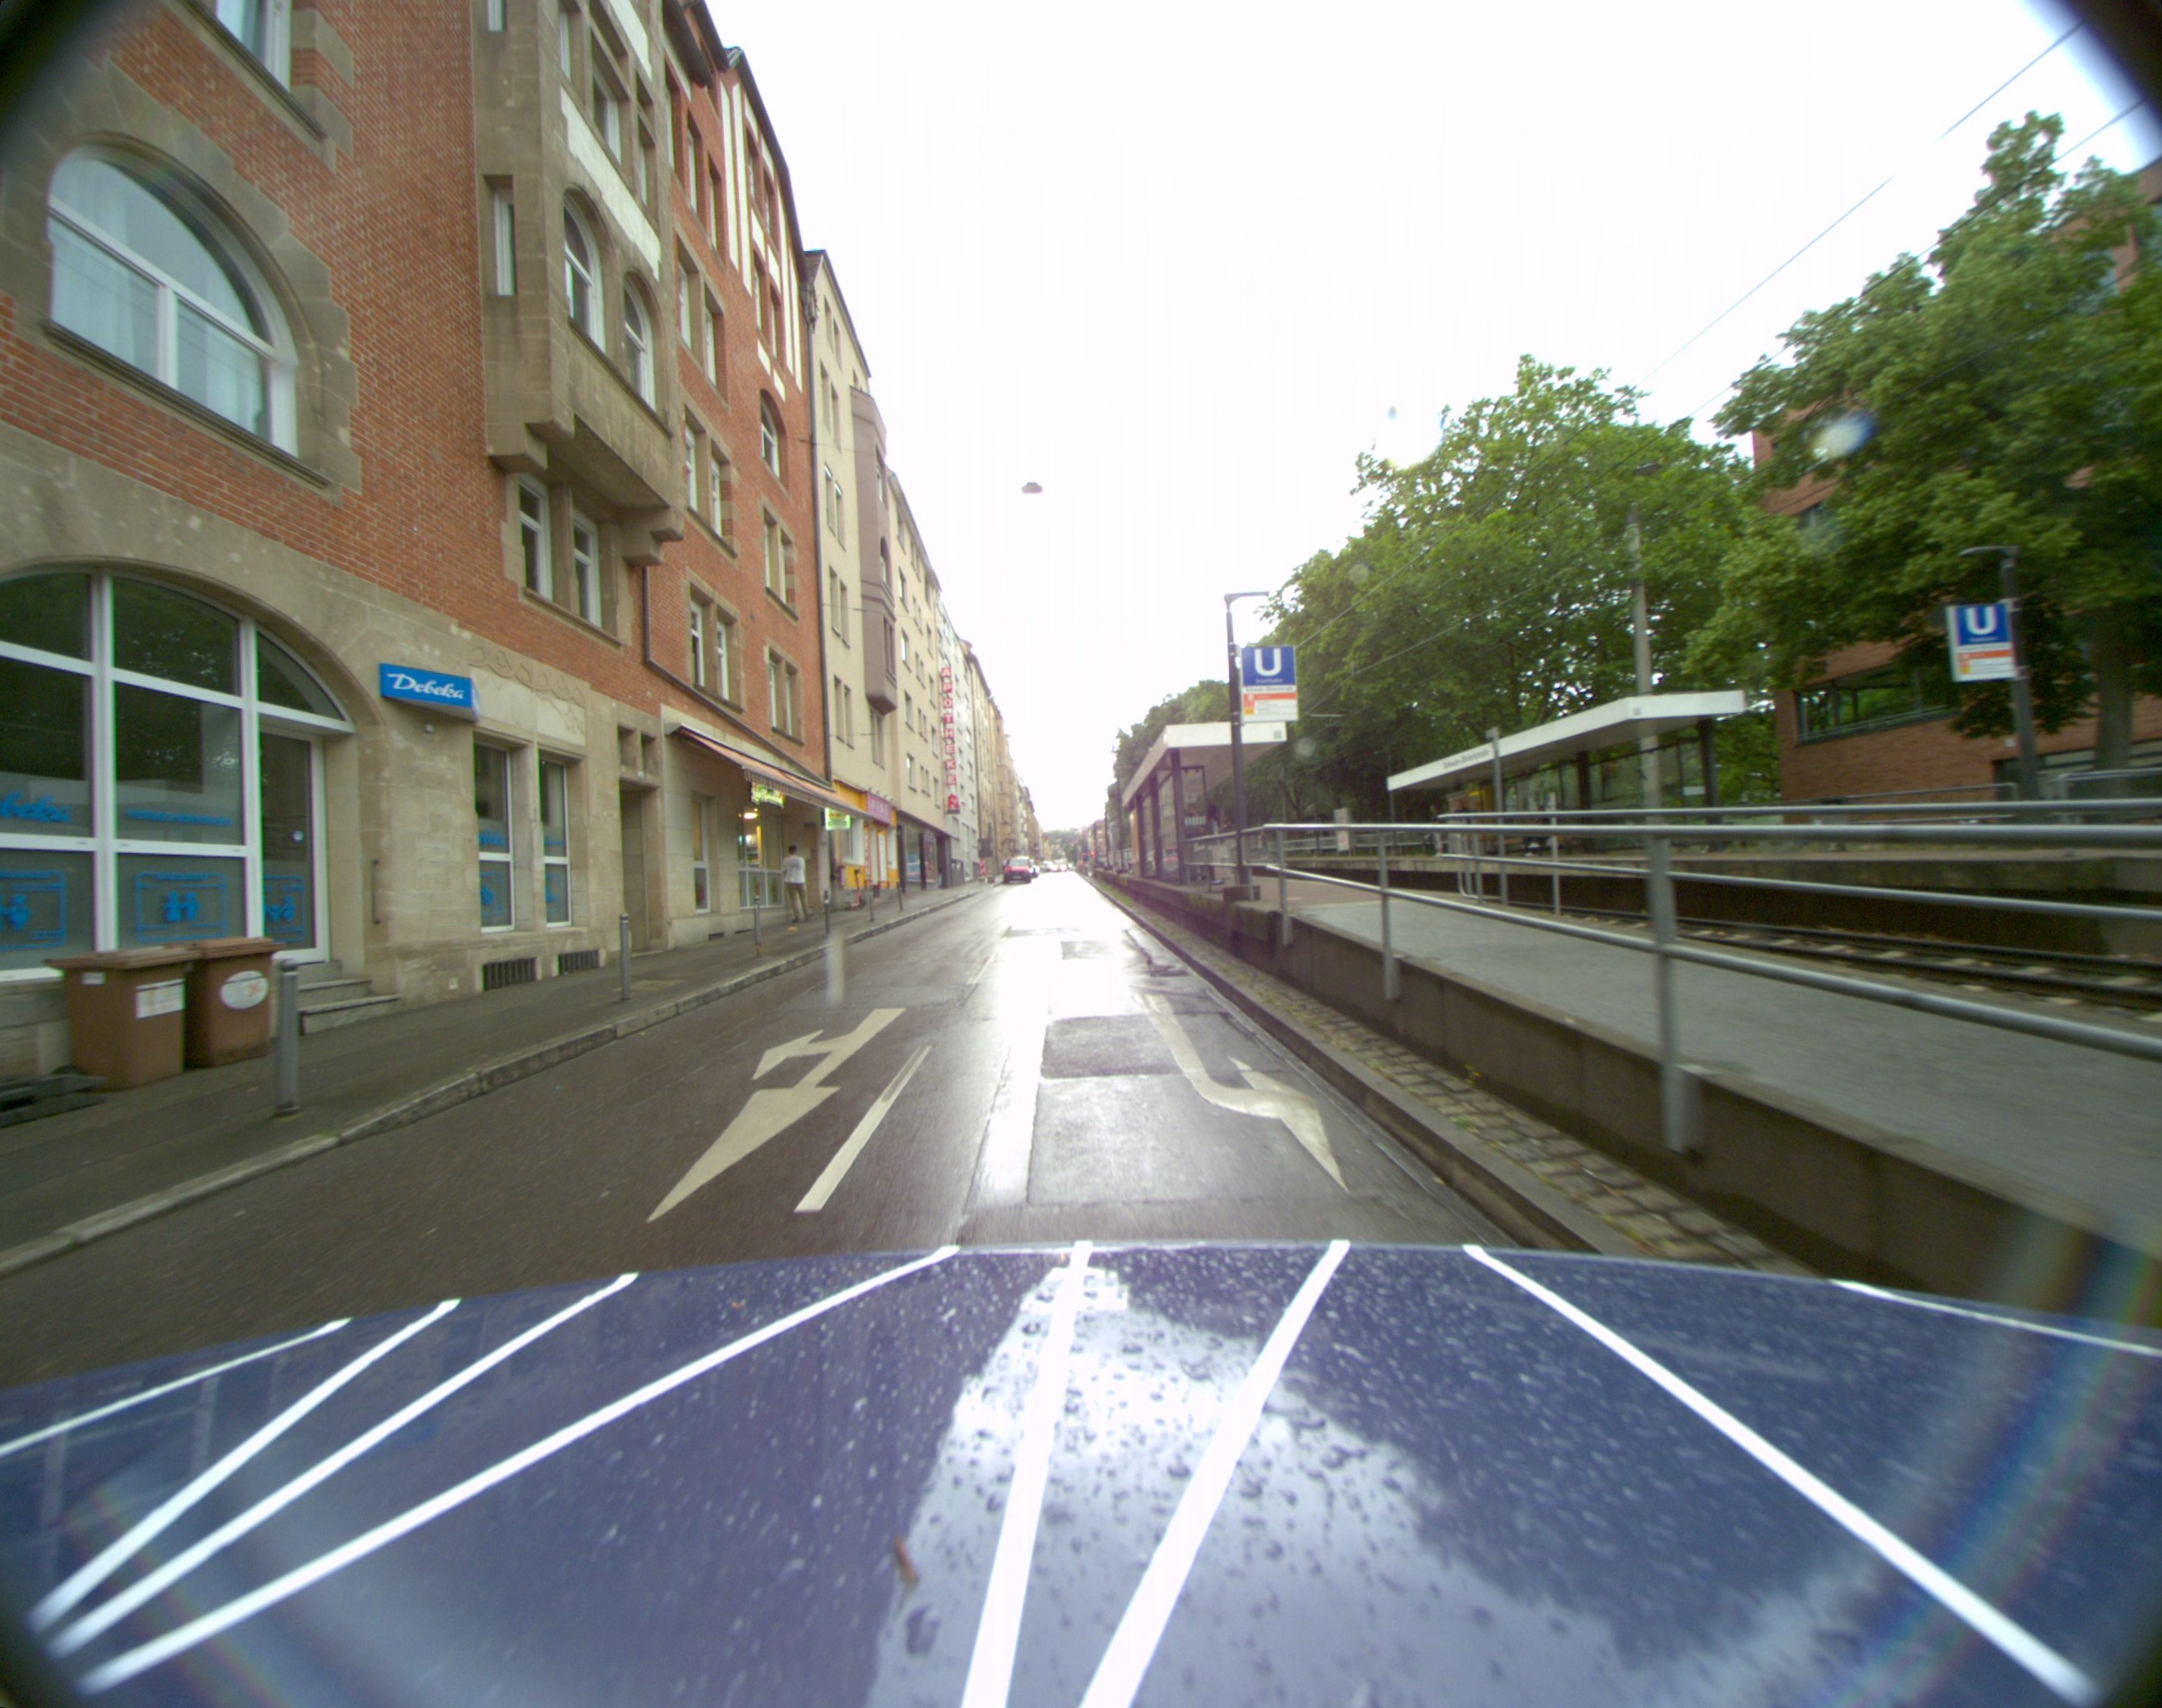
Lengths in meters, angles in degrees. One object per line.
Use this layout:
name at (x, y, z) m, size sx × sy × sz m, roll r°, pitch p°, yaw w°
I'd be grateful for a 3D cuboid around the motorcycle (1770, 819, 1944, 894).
motorcycle at (21.439, 0.070, 21.036) m, size 3.875 × 1.805 × 1.006 m, roll -3°, pitch 1°, yaw -3°

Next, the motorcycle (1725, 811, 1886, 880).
motorcycle at (21.279, -0.255, 22.359) m, size 3.875 × 1.763 × 1.006 m, roll -3°, pitch 0°, yaw -3°

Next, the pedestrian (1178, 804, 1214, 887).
pedestrian at (2.413, -0.177, 15.979) m, size 0.615 × 1.678 × 0.587 m, roll -3°, pitch 0°, yaw 2°

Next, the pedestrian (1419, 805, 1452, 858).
pedestrian at (11.395, -0.725, 24.413) m, size 0.688 × 1.631 × 0.564 m, roll -4°, pitch 0°, yaw -3°

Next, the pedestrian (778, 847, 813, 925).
pedestrian at (-6.879, 0.758, 18.319) m, size 0.562 × 1.820 × 0.580 m, roll 2°, pitch 2°, yaw 40°

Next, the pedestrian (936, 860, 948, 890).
pedestrian at (-7.794, 1.186, 42.556) m, size 0.483 × 1.635 × 0.330 m, roll -4°, pitch 1°, yaw -30°

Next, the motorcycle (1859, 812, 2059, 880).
motorcycle at (21.510, -0.197, 18.657) m, size 3.875 × 1.399 × 1.006 m, roll -3°, pitch 0°, yaw -3°

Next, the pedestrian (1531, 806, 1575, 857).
pedestrian at (11.982, -0.559, 19.299) m, size 0.705 × 1.233 × 0.564 m, roll -4°, pitch 0°, yaw -3°

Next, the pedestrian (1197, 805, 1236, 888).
pedestrian at (2.658, -0.147, 14.942) m, size 0.615 × 1.572 × 0.507 m, roll -3°, pitch 0°, yaw 2°

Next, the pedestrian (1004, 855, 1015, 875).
pedestrian at (-6.439, 0.966, 68.263) m, size 0.853 × 1.747 × 0.837 m, roll -4°, pitch 0°, yaw -1°

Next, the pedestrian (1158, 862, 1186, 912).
pedestrian at (2.304, 0.823, 19.226) m, size 0.615 × 1.219 × 0.507 m, roll -3°, pitch 0°, yaw 2°

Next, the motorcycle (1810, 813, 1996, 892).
motorcycle at (21.463, -0.048, 19.887) m, size 3.875 × 1.805 × 1.006 m, roll -3°, pitch 1°, yaw -3°

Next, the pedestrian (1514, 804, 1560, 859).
pedestrian at (11.947, -0.582, 19.930) m, size 0.779 × 1.354 × 0.564 m, roll -4°, pitch 0°, yaw -3°

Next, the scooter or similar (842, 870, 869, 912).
scooter or similar at (-6.856, 1.109, 23.183) m, size 0.258 × 1.214 × 1.195 m, roll -3°, pitch -1°, yaw 8°

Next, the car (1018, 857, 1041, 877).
car at (-4.765, 1.186, 70.321) m, size 1.770 × 1.698 × 4.499 m, roll -3°, pitch -1°, yaw -1°

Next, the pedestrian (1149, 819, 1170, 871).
pedestrian at (2.471, -0.276, 23.910) m, size 0.496 × 1.595 × 0.637 m, roll -2°, pitch 1°, yaw 15°

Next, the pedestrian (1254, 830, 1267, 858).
pedestrian at (10.488, -0.587, 44.480) m, size 0.563 × 1.631 × 0.689 m, roll -4°, pitch 0°, yaw 5°

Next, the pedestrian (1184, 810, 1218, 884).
pedestrian at (2.615, -0.147, 16.575) m, size 0.615 × 1.572 × 0.507 m, roll -3°, pitch 0°, yaw 2°

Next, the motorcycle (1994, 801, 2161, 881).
motorcycle at (21.588, -0.300, 15.899) m, size 3.875 × 1.479 × 1.006 m, roll -3°, pitch 0°, yaw -3°

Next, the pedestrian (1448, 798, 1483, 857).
pedestrian at (11.560, -0.774, 22.832) m, size 0.564 × 1.705 × 0.706 m, roll -4°, pitch 0°, yaw -3°

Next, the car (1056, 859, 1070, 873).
car at (-2.231, 1.530, 94.933) m, size 1.621 × 1.592 × 4.067 m, roll -2°, pitch -2°, yaw -2°

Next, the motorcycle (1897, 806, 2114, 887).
motorcycle at (21.176, -0.167, 17.451) m, size 3.875 × 1.596 × 1.006 m, roll -3°, pitch 0°, yaw -3°

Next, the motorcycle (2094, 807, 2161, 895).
motorcycle at (21.528, -0.129, 14.532) m, size 3.066 × 1.618 × 1.006 m, roll -3°, pitch 0°, yaw -3°

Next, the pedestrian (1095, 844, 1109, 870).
pedestrian at (1.452, 0.205, 53.148) m, size 0.861 × 1.788 × 0.787 m, roll -3°, pitch 0°, yaw -2°

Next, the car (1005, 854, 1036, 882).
car at (-4.283, 0.957, 54.388) m, size 1.980 × 1.827 × 5.244 m, roll -3°, pitch 0°, yaw -3°
